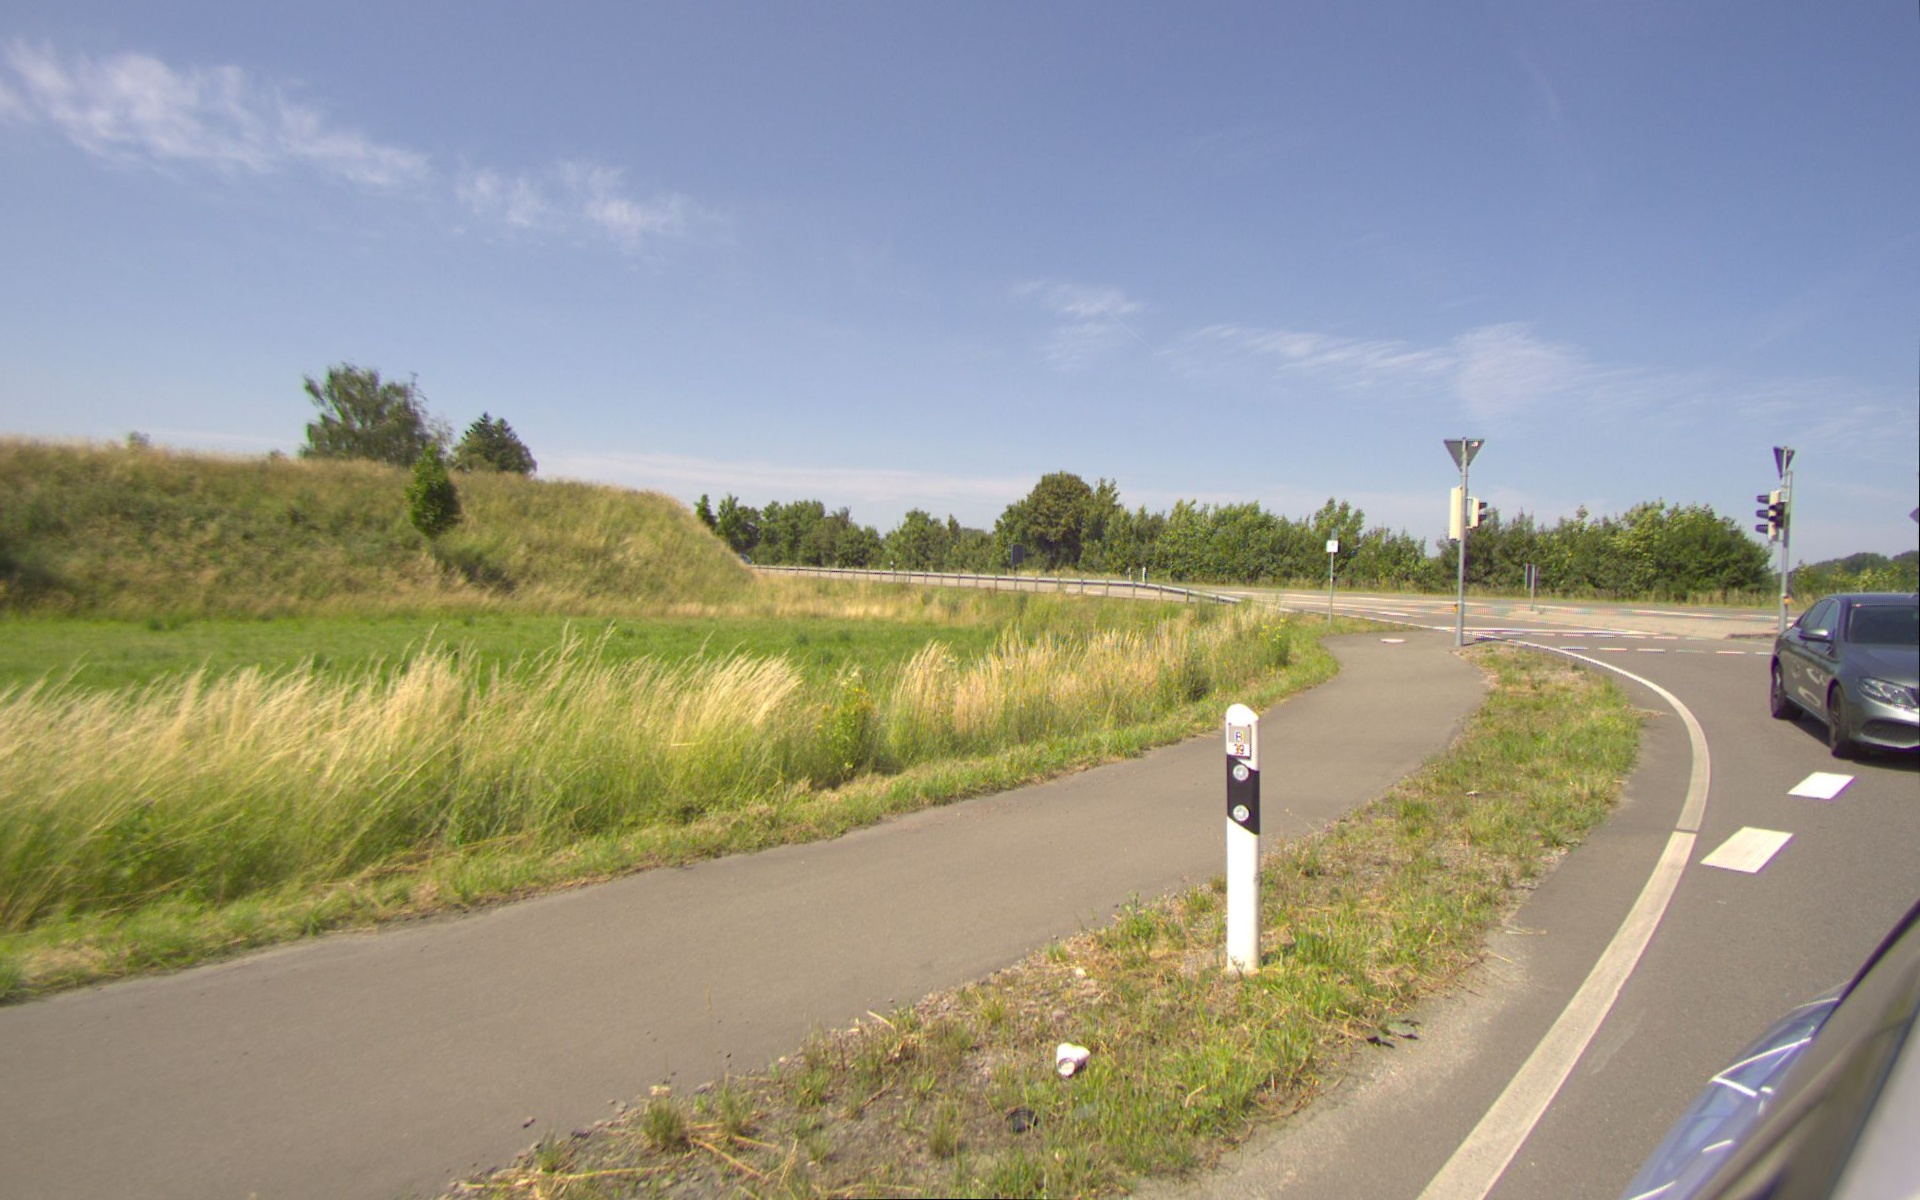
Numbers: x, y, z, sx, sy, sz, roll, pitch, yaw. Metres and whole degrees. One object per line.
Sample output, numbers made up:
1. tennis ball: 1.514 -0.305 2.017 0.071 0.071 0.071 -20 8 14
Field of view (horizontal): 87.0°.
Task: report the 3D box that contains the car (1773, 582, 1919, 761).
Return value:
1. car: 9.529 0.574 9.916 1.880 1.465 4.474 0 1 32
